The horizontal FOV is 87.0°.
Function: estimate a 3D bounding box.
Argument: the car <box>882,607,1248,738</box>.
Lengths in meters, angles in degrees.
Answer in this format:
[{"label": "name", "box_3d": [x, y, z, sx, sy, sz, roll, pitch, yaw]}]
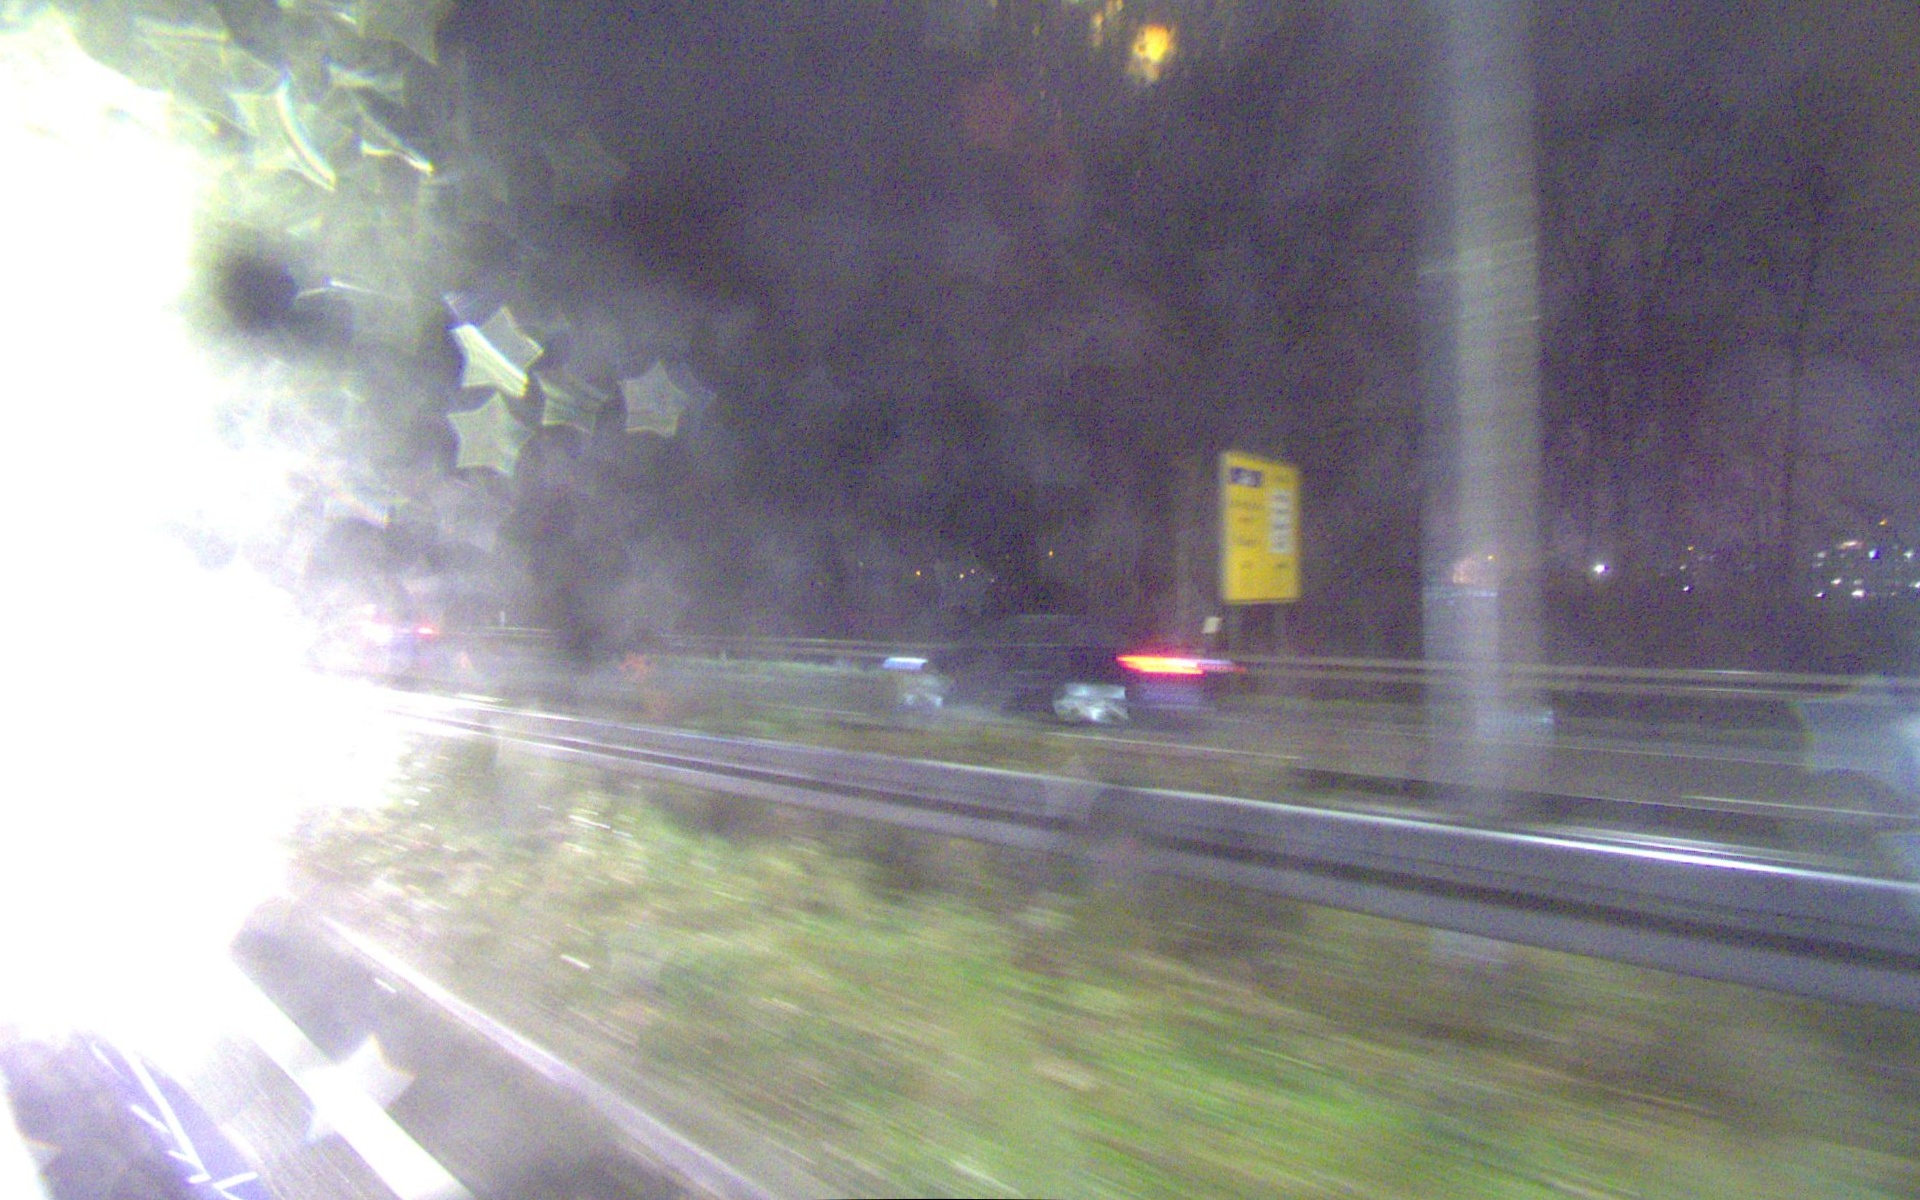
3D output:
[{"label": "car", "box_3d": [1.217, 0.825, 13.266, 4.665, 1.434, 1.694, -1, -1, 41]}]

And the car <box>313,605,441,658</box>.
[{"label": "car", "box_3d": [-18.046, 0.931, 31.241, 4.838, 1.520, 1.972, -1, -1, 42]}]
